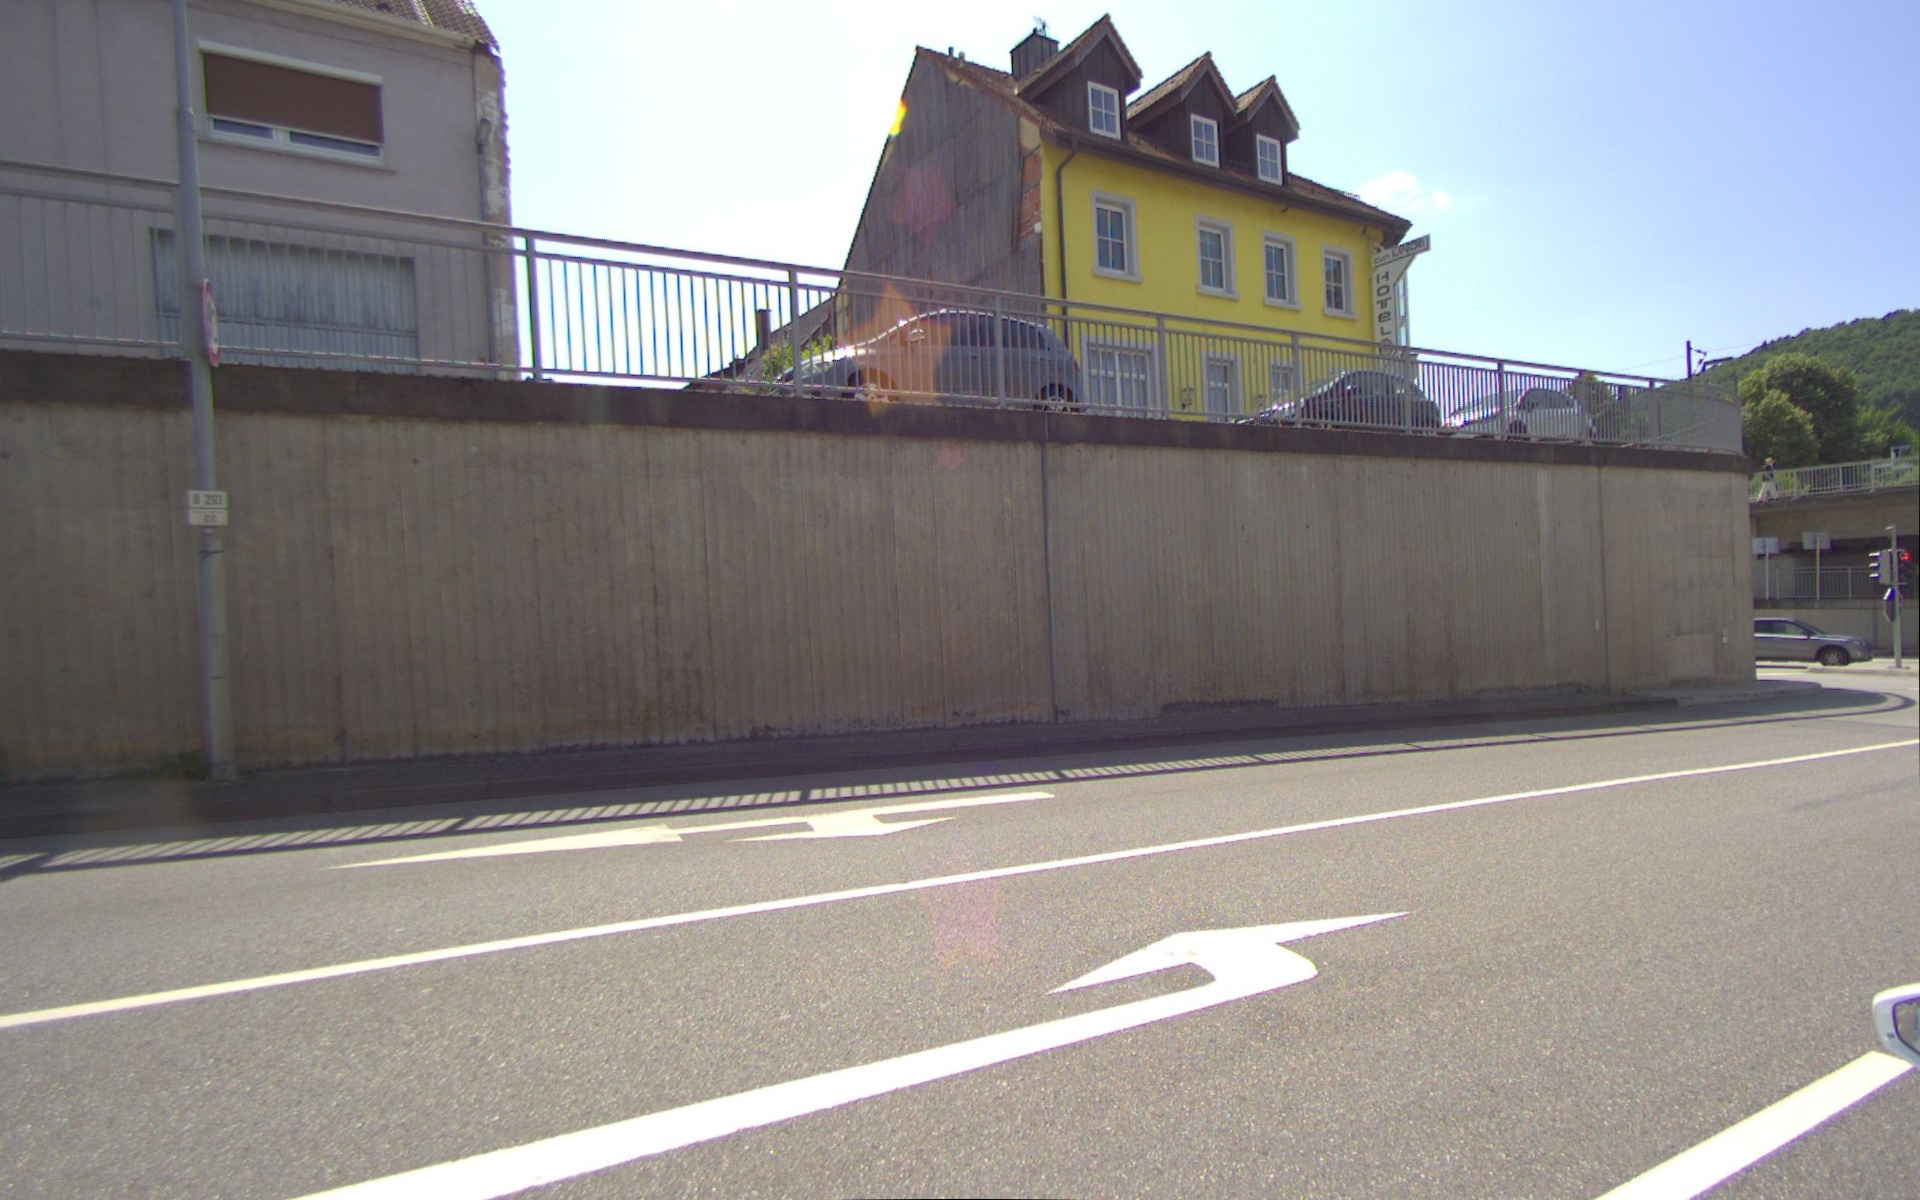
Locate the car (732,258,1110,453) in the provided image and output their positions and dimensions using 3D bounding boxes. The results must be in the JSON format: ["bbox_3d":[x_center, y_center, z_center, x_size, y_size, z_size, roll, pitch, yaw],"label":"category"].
[{"bbox_3d":[-0.407,-2.828,12.384,4.345,1.545,1.788,-2,0,-33],"label":"car"}]

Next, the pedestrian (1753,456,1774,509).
[{"bbox_3d":[33.697,-4.900,42.117,0.531,2.108,0.571,1,-2,-40],"label":"pedestrian"}]

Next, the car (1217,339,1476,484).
[{"bbox_3d":[6.342,-2.930,16.366,4.176,1.728,1.812,-2,1,-33],"label":"car"}]

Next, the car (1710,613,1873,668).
[{"bbox_3d":[27.447,1.294,33.246,1.796,1.639,3.950,-2,1,-42],"label":"car"}]

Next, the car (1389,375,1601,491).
[{"bbox_3d":[10.320,-3.110,19.332,3.955,1.690,1.892,-2,0,-32],"label":"car"}]
